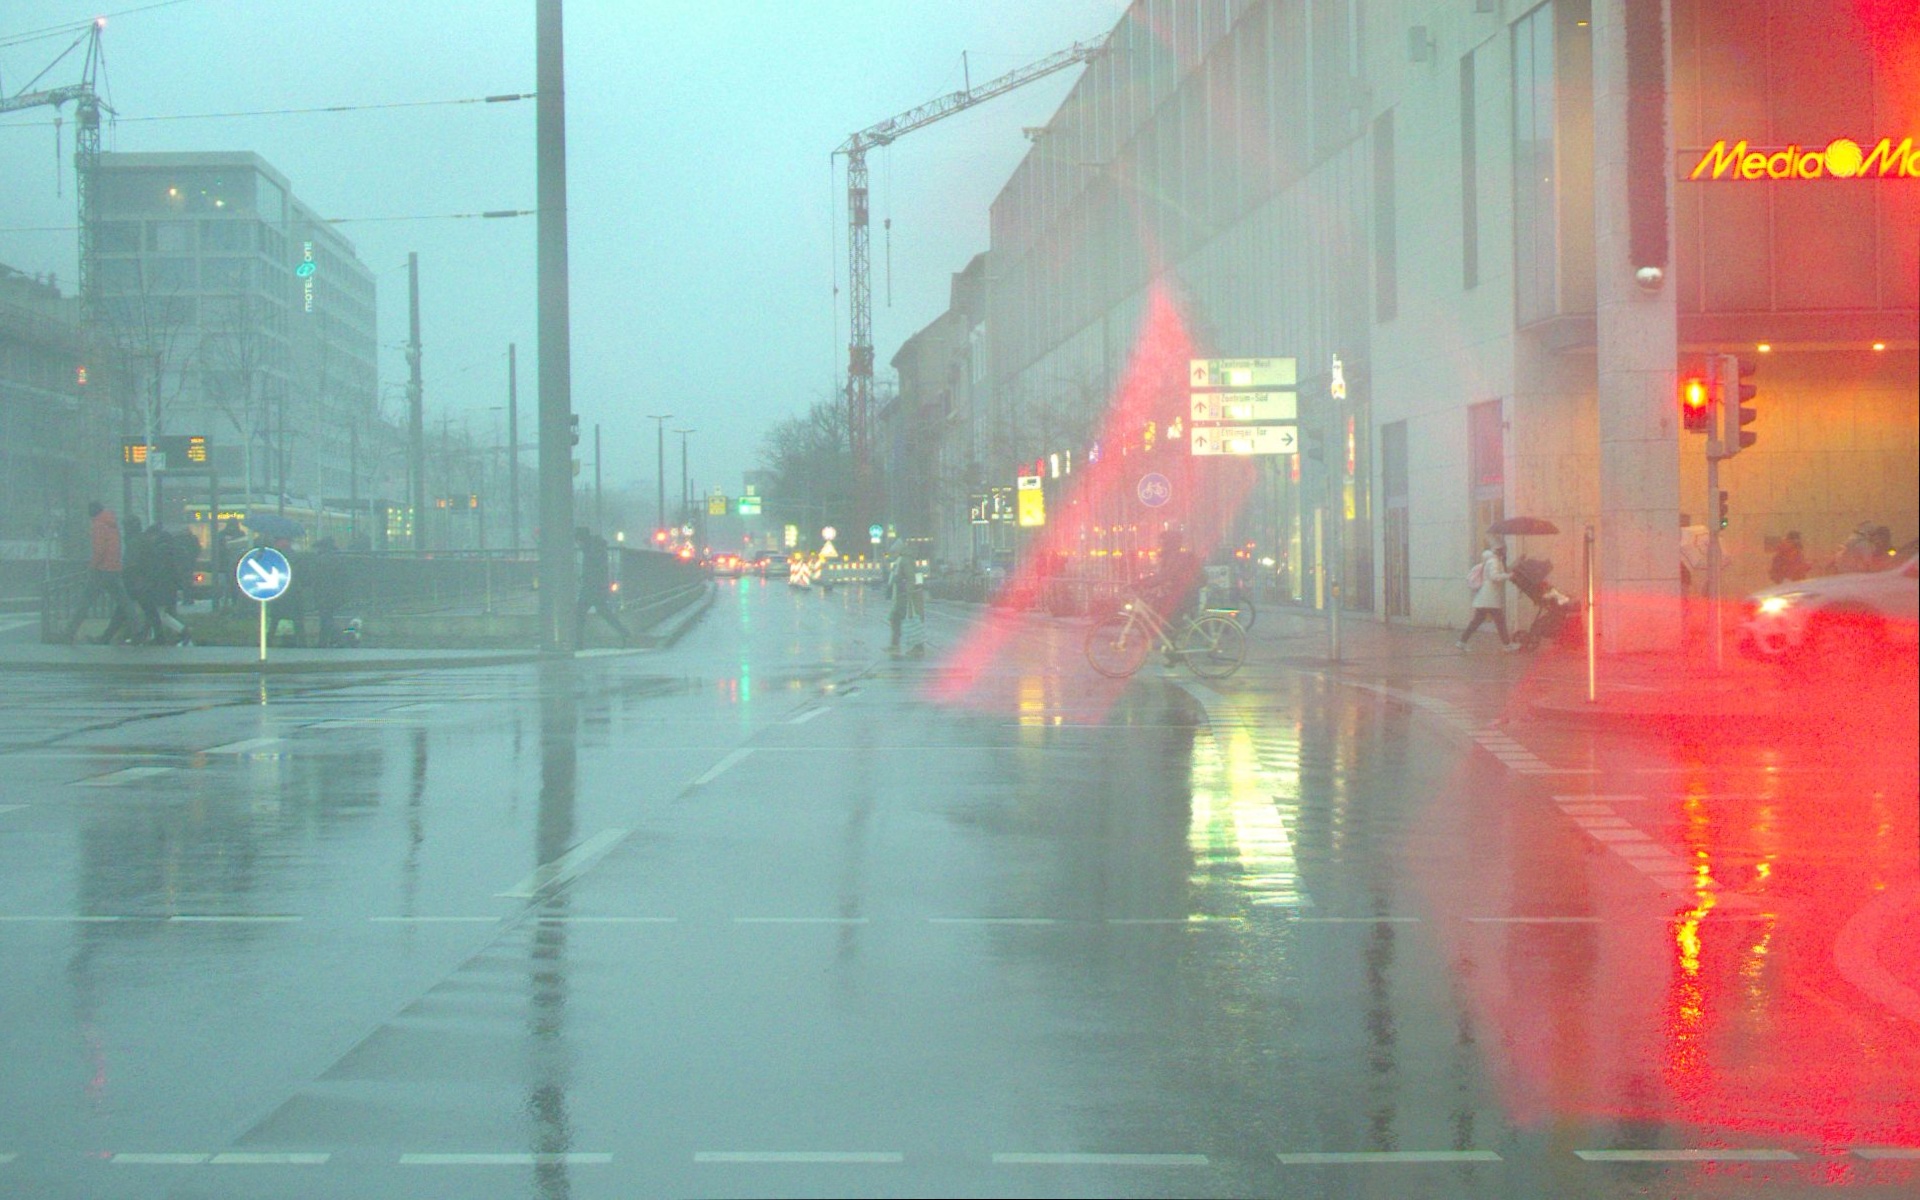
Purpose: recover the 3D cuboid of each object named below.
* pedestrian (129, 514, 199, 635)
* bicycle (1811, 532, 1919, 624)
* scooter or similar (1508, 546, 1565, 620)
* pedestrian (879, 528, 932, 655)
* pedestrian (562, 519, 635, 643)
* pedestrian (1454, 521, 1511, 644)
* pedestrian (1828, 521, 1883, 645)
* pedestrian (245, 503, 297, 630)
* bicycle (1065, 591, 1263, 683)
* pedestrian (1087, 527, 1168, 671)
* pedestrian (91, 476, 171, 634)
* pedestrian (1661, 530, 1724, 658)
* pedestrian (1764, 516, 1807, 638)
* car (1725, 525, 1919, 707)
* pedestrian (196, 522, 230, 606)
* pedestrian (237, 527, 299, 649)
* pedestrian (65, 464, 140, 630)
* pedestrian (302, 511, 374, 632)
[{"bbox_3d":[-10.732,-0.347,46.331,0.707,1.613,0.680,-1,1,-33],"label":"pedestrian"},{"bbox_3d":[13.827,-0.332,50.629,2.424,1.325,0.635,-1,1,-5],"label":"bicycle"},{"bbox_3d":[7.901,-0.233,47.080,0.741,0.990,0.400,-1,1,12],"label":"scooter or similar"},{"bbox_3d":[-0.761,-0.128,48.118,0.703,1.754,0.652,-1,1,-1],"label":"pedestrian"},{"bbox_3d":[-4.984,-0.265,47.475,0.843,1.682,0.677,-1,1,7],"label":"pedestrian"},{"bbox_3d":[7.183,-0.242,47.238,0.741,1.661,0.400,-1,1,12],"label":"pedestrian"},{"bbox_3d":[12.701,-0.243,48.768,0.617,1.754,0.482,-1,1,-1],"label":"pedestrian"},{"bbox_3d":[-9.587,-0.471,47.838,0.619,1.740,0.613,-1,1,-6],"label":"pedestrian"},{"bbox_3d":[2.248,0.406,38.004,2.128,0.988,0.541,1,0,-4],"label":"bicycle"},{"bbox_3d":[1.851,-0.014,38.045,0.814,1.564,0.536,-1,1,-4],"label":"pedestrian"},{"bbox_3d":[-10.654,-0.579,44.169,0.775,2.007,0.613,-1,1,-39],"label":"pedestrian"},{"bbox_3d":[10.209,-0.086,47.928,0.702,1.754,0.667,-1,1,-1],"label":"pedestrian"},{"bbox_3d":[11.881,-0.332,49.474,0.512,1.754,0.374,-1,1,-1],"label":"pedestrian"},{"bbox_3d":[10.034,0.121,34.540,4.303,1.755,1.707,-1,1,1],"label":"car"},{"bbox_3d":[-15.554,-0.750,71.582,0.660,1.740,0.736,-1,1,-11],"label":"pedestrian"},{"bbox_3d":[-9.318,-0.165,46.307,0.706,1.613,0.613,-1,1,-3],"label":"pedestrian"},{"bbox_3d":[-10.796,-0.668,43.290,0.686,2.080,0.613,-1,1,-40],"label":"pedestrian"},{"bbox_3d":[-8.408,-0.386,46.504,0.809,1.602,0.745,-1,1,-1],"label":"pedestrian"}]
